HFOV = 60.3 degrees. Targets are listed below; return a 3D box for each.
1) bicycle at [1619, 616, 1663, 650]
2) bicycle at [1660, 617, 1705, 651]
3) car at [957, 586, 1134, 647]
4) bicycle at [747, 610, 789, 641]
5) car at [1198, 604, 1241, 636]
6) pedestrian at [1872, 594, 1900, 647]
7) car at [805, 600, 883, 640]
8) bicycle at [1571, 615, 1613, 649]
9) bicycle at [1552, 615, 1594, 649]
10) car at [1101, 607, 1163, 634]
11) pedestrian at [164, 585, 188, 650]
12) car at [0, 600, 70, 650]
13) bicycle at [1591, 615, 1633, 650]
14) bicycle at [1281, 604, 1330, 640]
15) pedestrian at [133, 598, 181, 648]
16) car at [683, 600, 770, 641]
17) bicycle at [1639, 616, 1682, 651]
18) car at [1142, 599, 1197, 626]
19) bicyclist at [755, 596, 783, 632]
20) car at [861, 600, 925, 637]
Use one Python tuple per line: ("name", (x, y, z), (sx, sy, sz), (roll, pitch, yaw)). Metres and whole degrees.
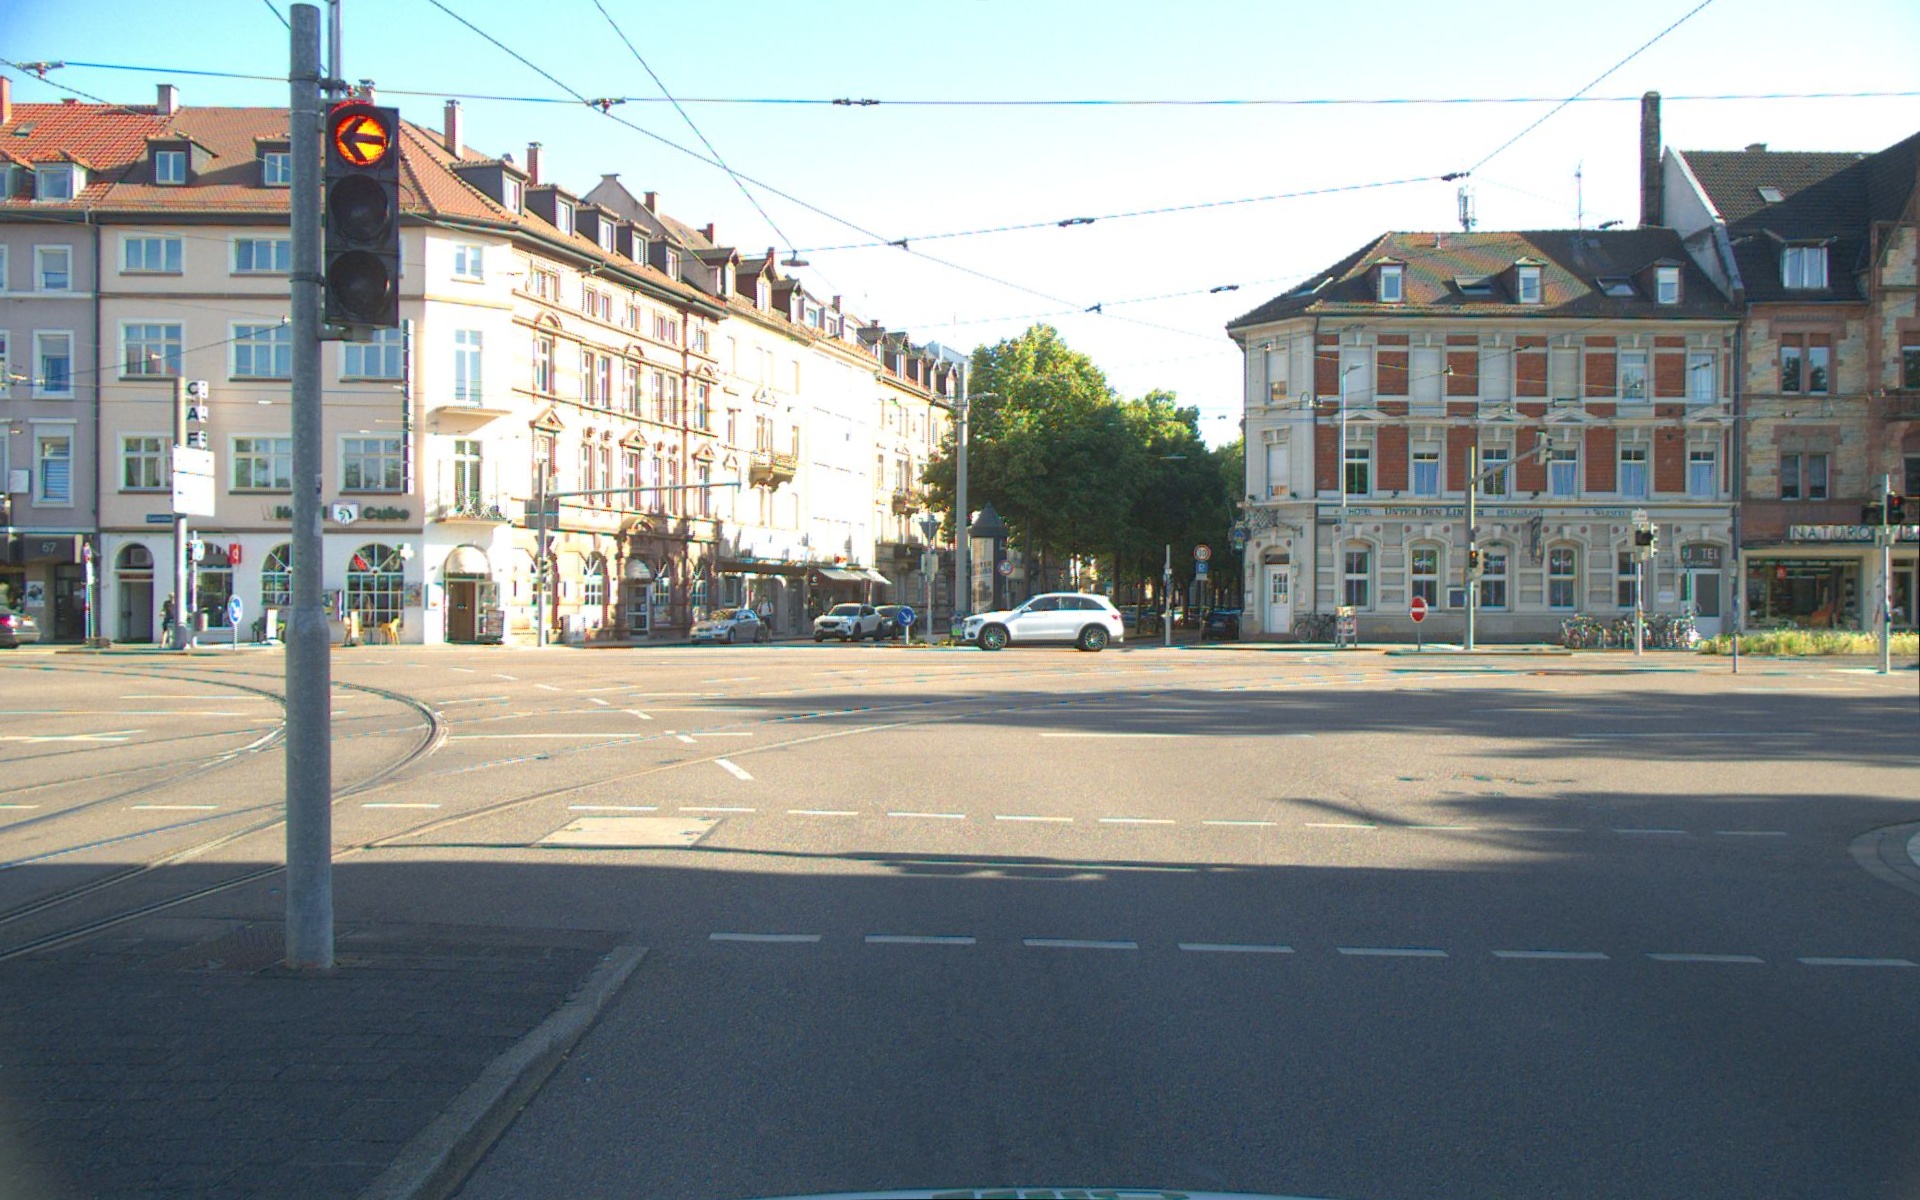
("bicycle", (21.942, 1.061, 53.321), (0.593, 1.069, 1.641), (0, 0, -6))
("bicycle", (23.329, 1.085, 53.418), (0.593, 1.069, 1.641), (0, 0, -6))
("car", (2.380, 0.447, 46.780), (4.754, 1.689, 1.997), (0, 0, -6))
("bicycle", (-7.575, 0.996, 65.492), (0.734, 1.155, 2.812), (0, 0, 14))
("car", (12.974, 1.003, 82.461), (1.616, 1.551, 3.755), (0, -1, 17))
("pedestrian", (31.707, 0.697, 56.631), (0.694, 1.782, 0.421), (0, 0, 0))
("car", (-4.652, 0.791, 67.076), (2.052, 1.525, 4.003), (0, 0, 13))
("bicycle", (20.464, 1.036, 53.563), (0.593, 1.069, 1.641), (0, 0, -6))
("bicycle", (19.824, 1.025, 53.507), (0.593, 1.069, 1.641), (0, 0, -6))
("car", (12.006, 1.403, 115.380), (4.024, 1.675, 1.748), (3, 0, 15))
("pedestrian", (-24.668, 0.541, 52.032), (0.498, 2.049, 0.505), (0, 0, 2))
("car", (-27.763, 0.695, 46.463), (4.420, 1.364, 1.999), (0, 0, -3))
("bicycle", (21.116, 1.048, 53.589), (0.593, 1.069, 1.641), (0, 0, -6))
("bicycle", (11.974, 0.764, 57.298), (1.603, 1.243, 0.607), (0, 0, 16))
("pedestrian", (-26.144, 0.730, 53.865), (1.043, 1.618, 1.042), (0, 0, 1))
("car", (-9.451, 0.813, 67.217), (2.052, 1.572, 4.367), (0, 0, 13))
("bicycle", (22.603, 1.072, 53.397), (0.593, 1.069, 1.641), (0, 0, -6))
("car", (16.960, 1.014, 133.660), (4.026, 1.952, 1.746), (3, 0, 21))
("bicyclist", (-7.560, 0.545, 65.461), (0.776, 1.399, 1.109), (0, 0, 14))
("car", (-2.960, 0.798, 73.469), (1.951, 1.540, 4.004), (0, 0, 11))
